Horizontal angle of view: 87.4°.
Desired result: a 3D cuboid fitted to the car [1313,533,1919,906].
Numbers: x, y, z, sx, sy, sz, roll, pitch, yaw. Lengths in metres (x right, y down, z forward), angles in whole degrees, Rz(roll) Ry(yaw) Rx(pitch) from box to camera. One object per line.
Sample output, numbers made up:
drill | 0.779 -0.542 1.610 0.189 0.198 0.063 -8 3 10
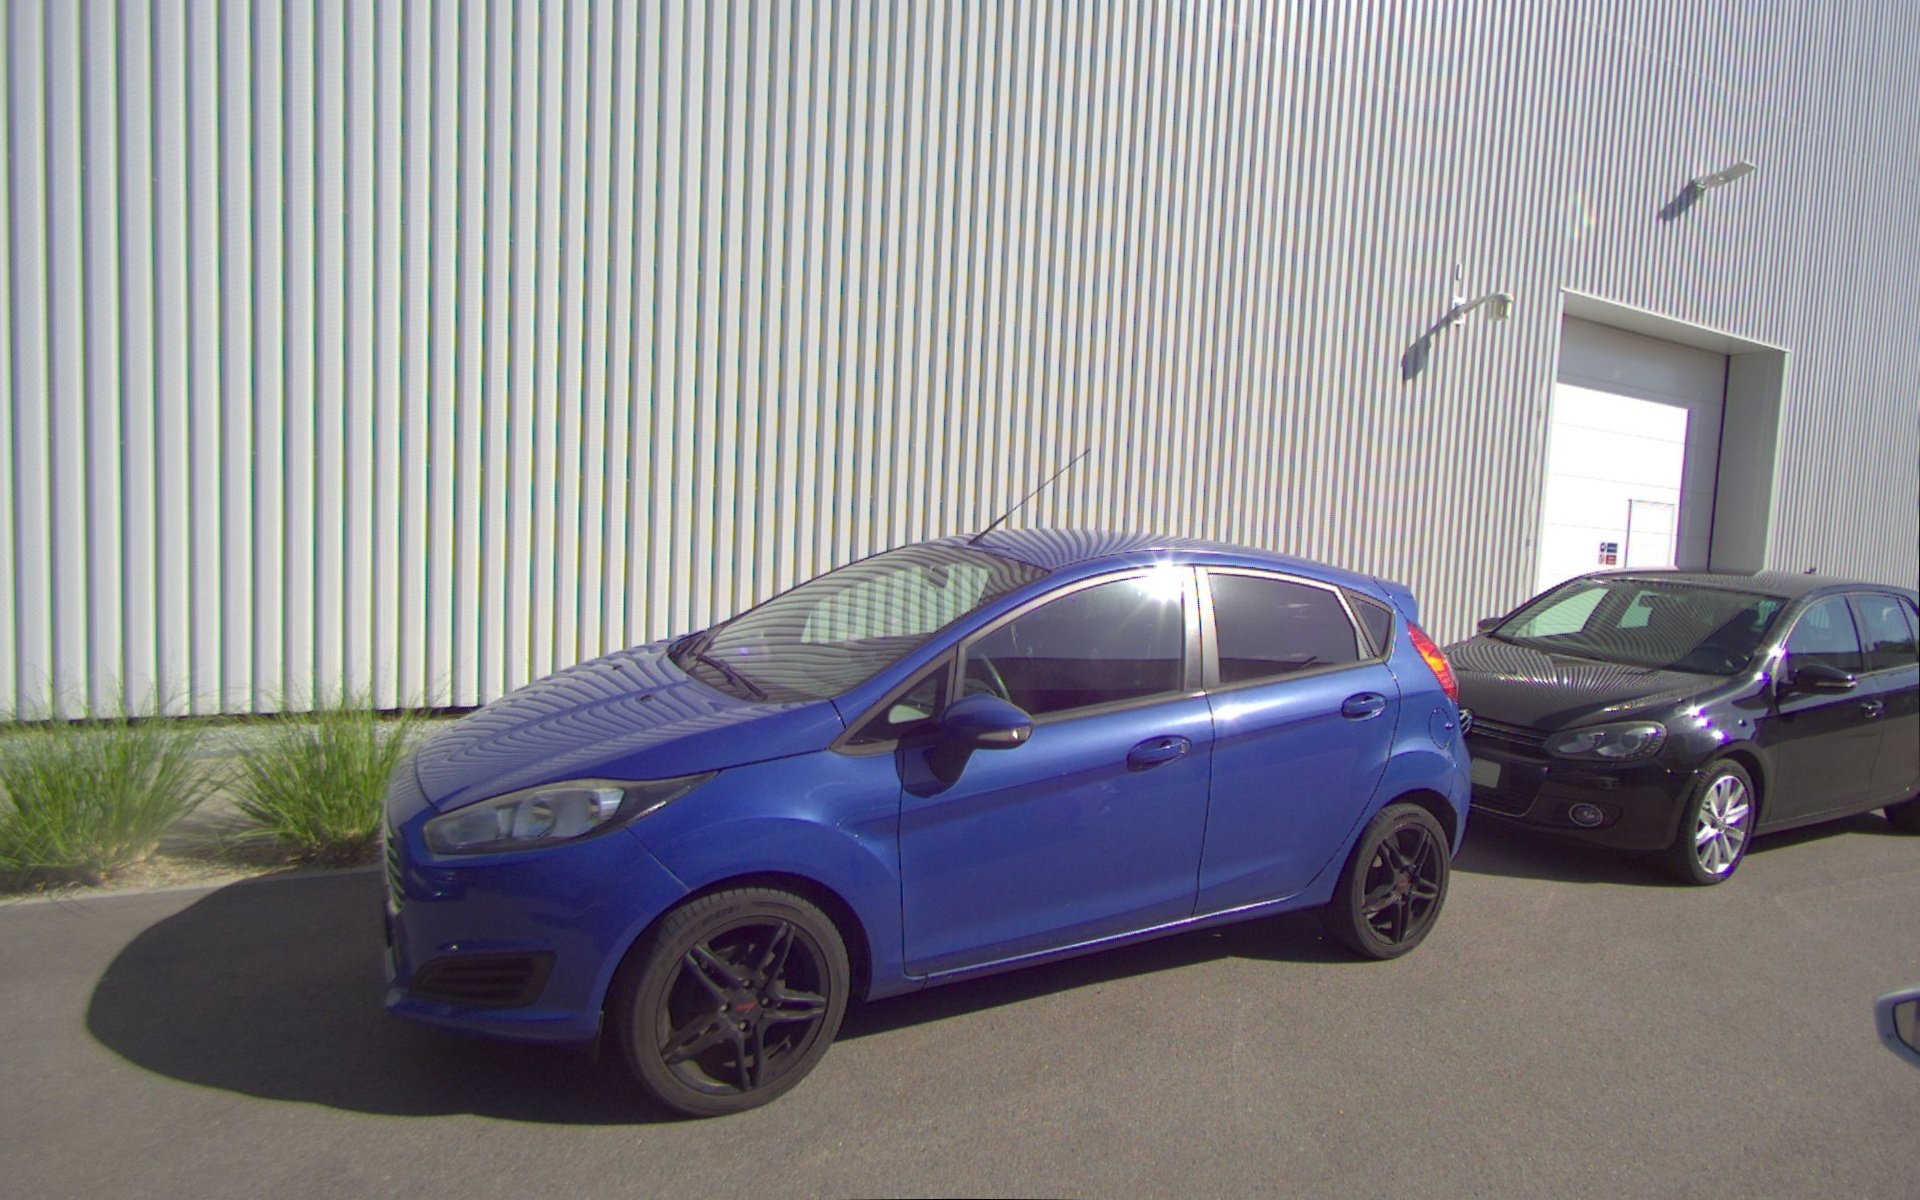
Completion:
car | 4.356 0.497 5.999 4.240 1.520 1.747 1 5 -28

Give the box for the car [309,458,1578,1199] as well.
car | 0.156 0.437 3.597 4.045 1.520 1.623 1 6 -29
